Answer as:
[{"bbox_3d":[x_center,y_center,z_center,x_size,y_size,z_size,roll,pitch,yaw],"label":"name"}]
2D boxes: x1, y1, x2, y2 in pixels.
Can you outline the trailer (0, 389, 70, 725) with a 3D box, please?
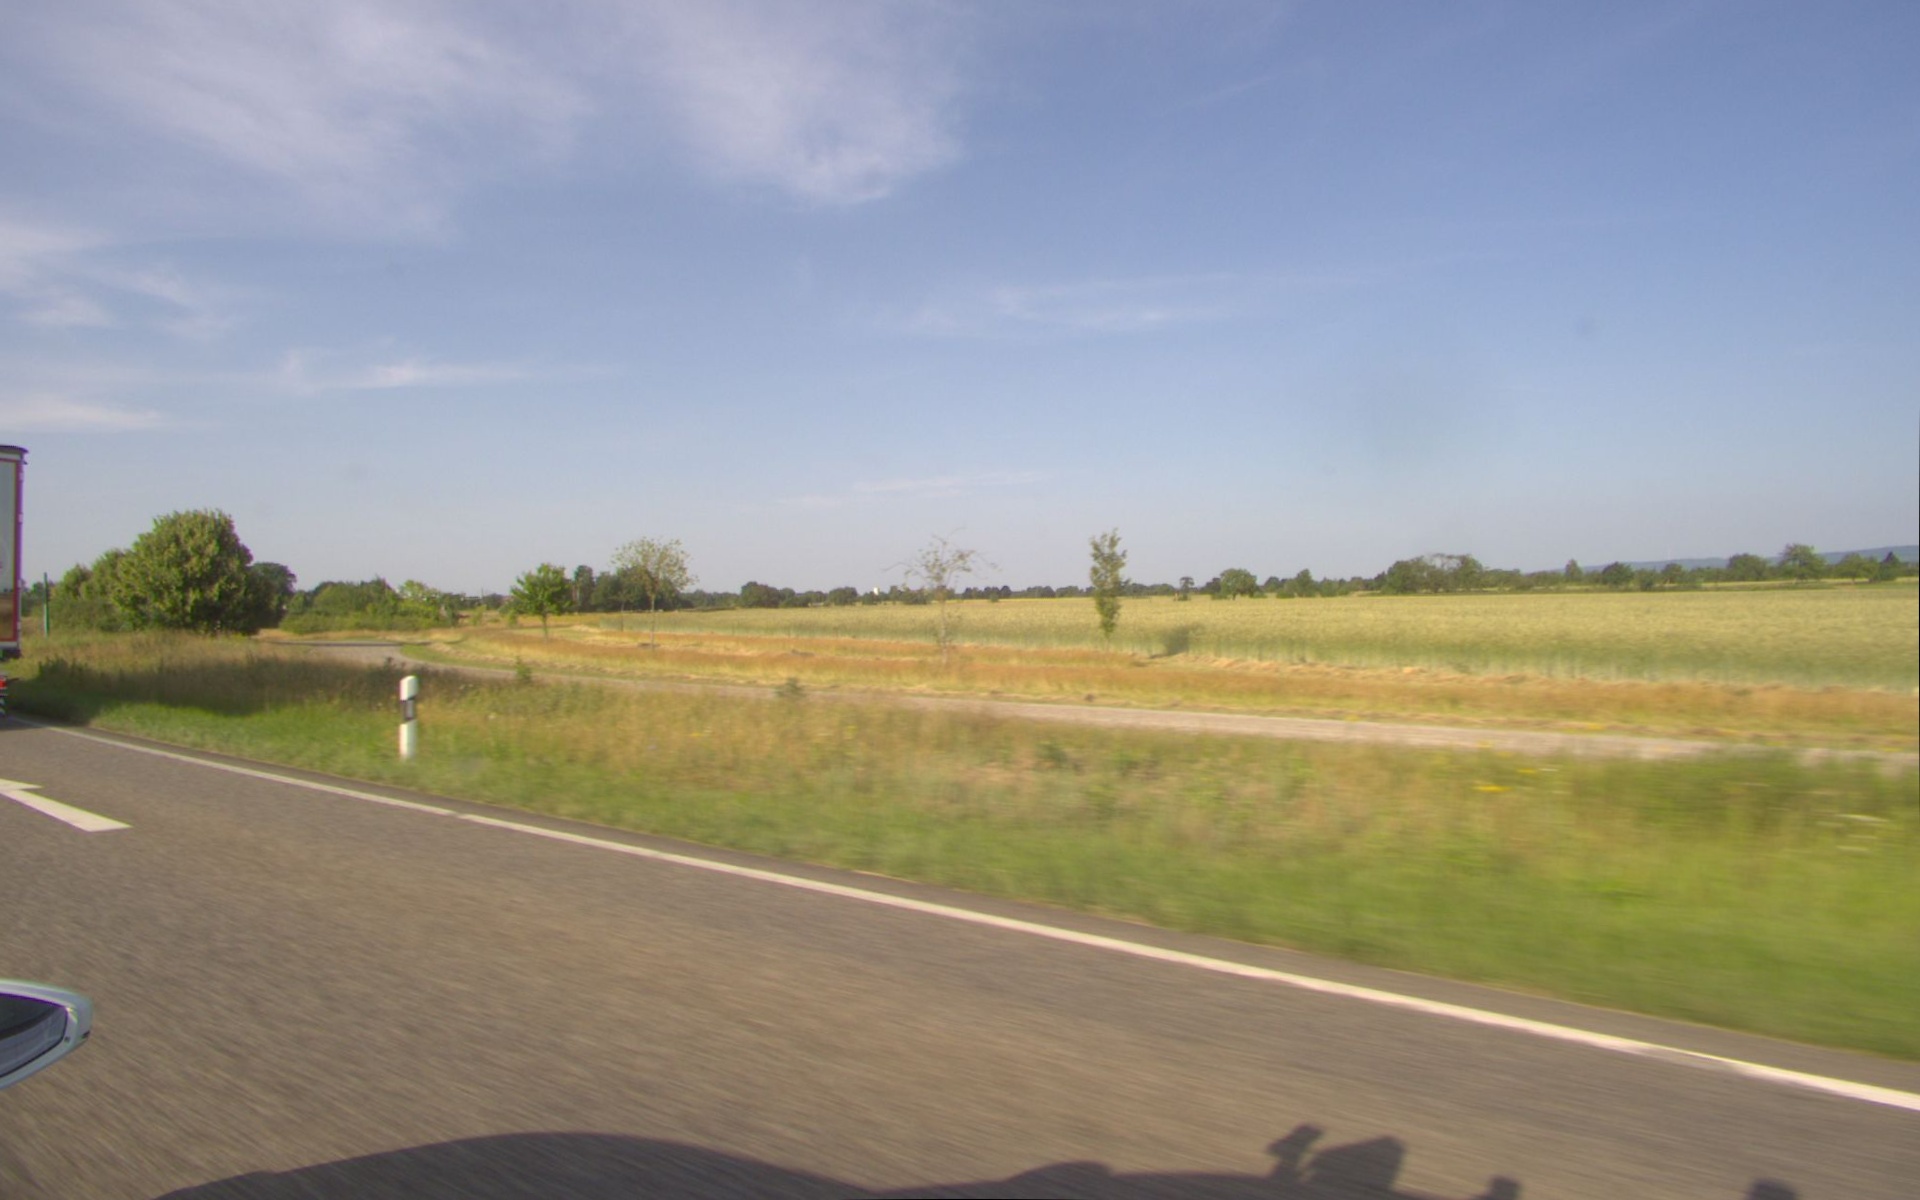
[{"bbox_3d":[-19.208,-0.575,17.426,12.982,4.741,3.270,0,-1,38],"label":"trailer"}]
